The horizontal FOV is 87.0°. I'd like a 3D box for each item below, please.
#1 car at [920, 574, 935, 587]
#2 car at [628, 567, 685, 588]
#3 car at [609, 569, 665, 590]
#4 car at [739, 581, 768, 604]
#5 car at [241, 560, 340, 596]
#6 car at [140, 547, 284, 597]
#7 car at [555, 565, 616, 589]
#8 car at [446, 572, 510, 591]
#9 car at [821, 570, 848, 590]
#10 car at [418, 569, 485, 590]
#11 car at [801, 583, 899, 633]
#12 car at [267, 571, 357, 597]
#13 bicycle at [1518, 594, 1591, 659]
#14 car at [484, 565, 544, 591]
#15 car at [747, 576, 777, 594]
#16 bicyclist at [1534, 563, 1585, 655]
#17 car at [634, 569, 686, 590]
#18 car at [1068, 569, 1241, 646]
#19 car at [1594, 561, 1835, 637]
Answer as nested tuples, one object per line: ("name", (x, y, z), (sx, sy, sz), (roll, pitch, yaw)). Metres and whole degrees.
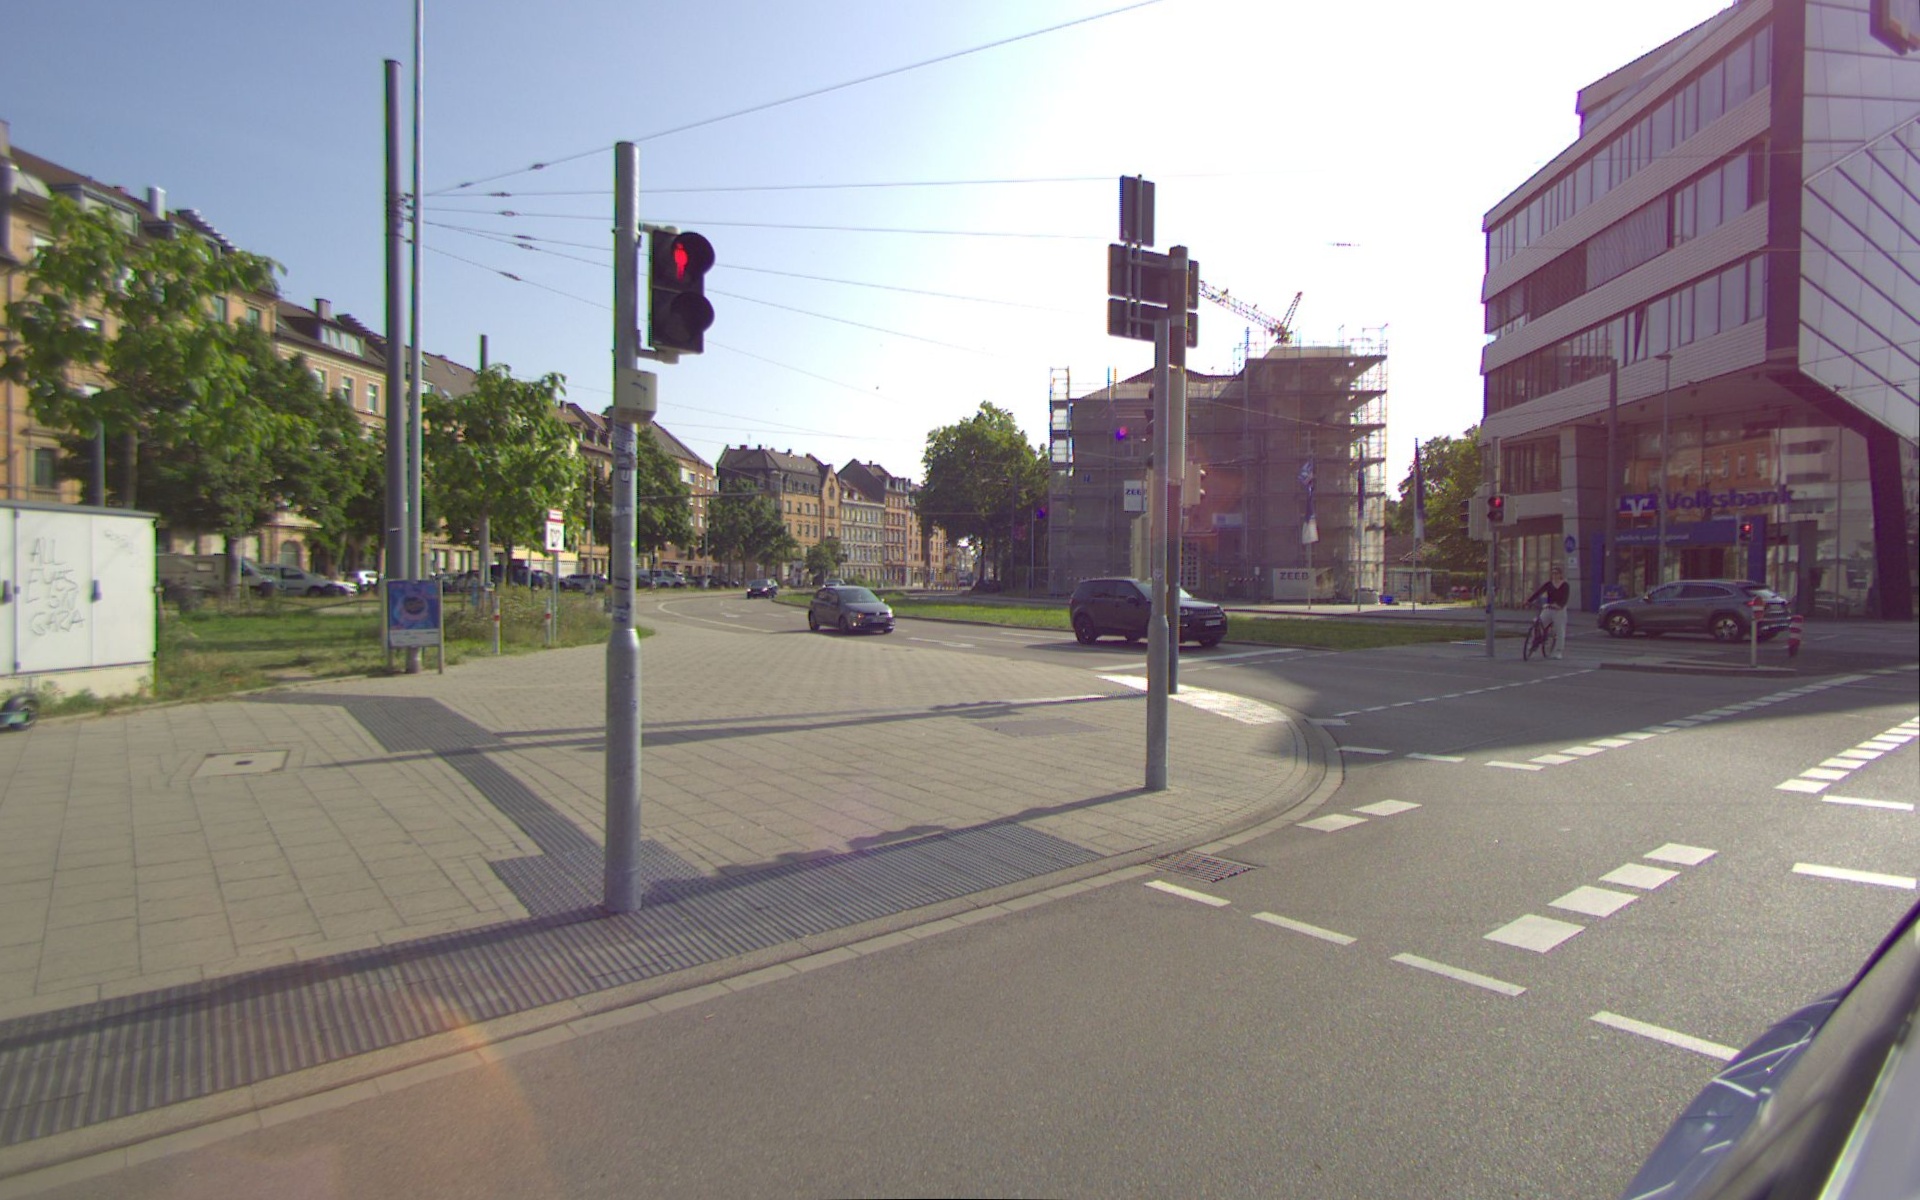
("car", (-5.139, -3.109, 160.028), (1.964, 2.003, 3.998), (0, 2, 4))
("car", (-29.008, -2.164, 96.806), (4.831, 1.861, 1.723), (1, 1, -33))
("car", (-28.684, -1.821, 89.854), (4.639, 1.787, 1.725), (1, 0, -21))
("car", (-15.213, -0.570, 74.547), (1.624, 1.654, 4.005), (0, 1, -5))
("car", (-32.851, -1.085, 49.780), (3.904, 1.728, 1.883), (0, 1, -29))
("car", (-34.050, -1.258, 46.229), (4.941, 2.205, 1.884), (0, 1, -22))
("car", (-30.781, -1.857, 83.149), (4.639, 1.787, 1.725), (1, 0, -21))
("car", (-31.929, -1.229, 67.089), (3.778, 1.265, 1.724), (0, 1, -29))
("car", (-13.017, -2.101, 105.258), (1.965, 2.039, 3.994), (1, 1, 6))
("car", (-32.387, -1.299, 64.474), (3.778, 1.265, 1.724), (0, 1, -29))
("car", (-3.523, 0.198, 31.843), (1.612, 1.436, 3.899), (-1, 2, -31))
("car", (-33.238, -0.830, 52.008), (3.778, 1.265, 1.724), (0, 1, -29))
("bicycle", (11.390, 0.477, 19.358), (1.773, 1.111, 0.669), (-3, 3, -41))
("car", (-31.155, -1.528, 70.646), (3.777, 1.828, 1.789), (0, 1, -26))
("car", (-17.974, -1.391, 92.118), (1.962, 1.580, 3.875), (-1, 1, 0))
("bicyclist", (11.523, 0.151, 19.462), (0.626, 1.723, 0.669), (-2, 3, -40))
("car", (-27.981, -1.931, 94.363), (4.330, 1.787, 1.724), (1, 1, -29))
("car", (4.639, 0.126, 24.763), (1.767, 1.699, 4.225), (1, 1, -31))
("car", (19.973, -0.128, 27.075), (1.915, 1.805, 4.825), (-2, 3, -25))
